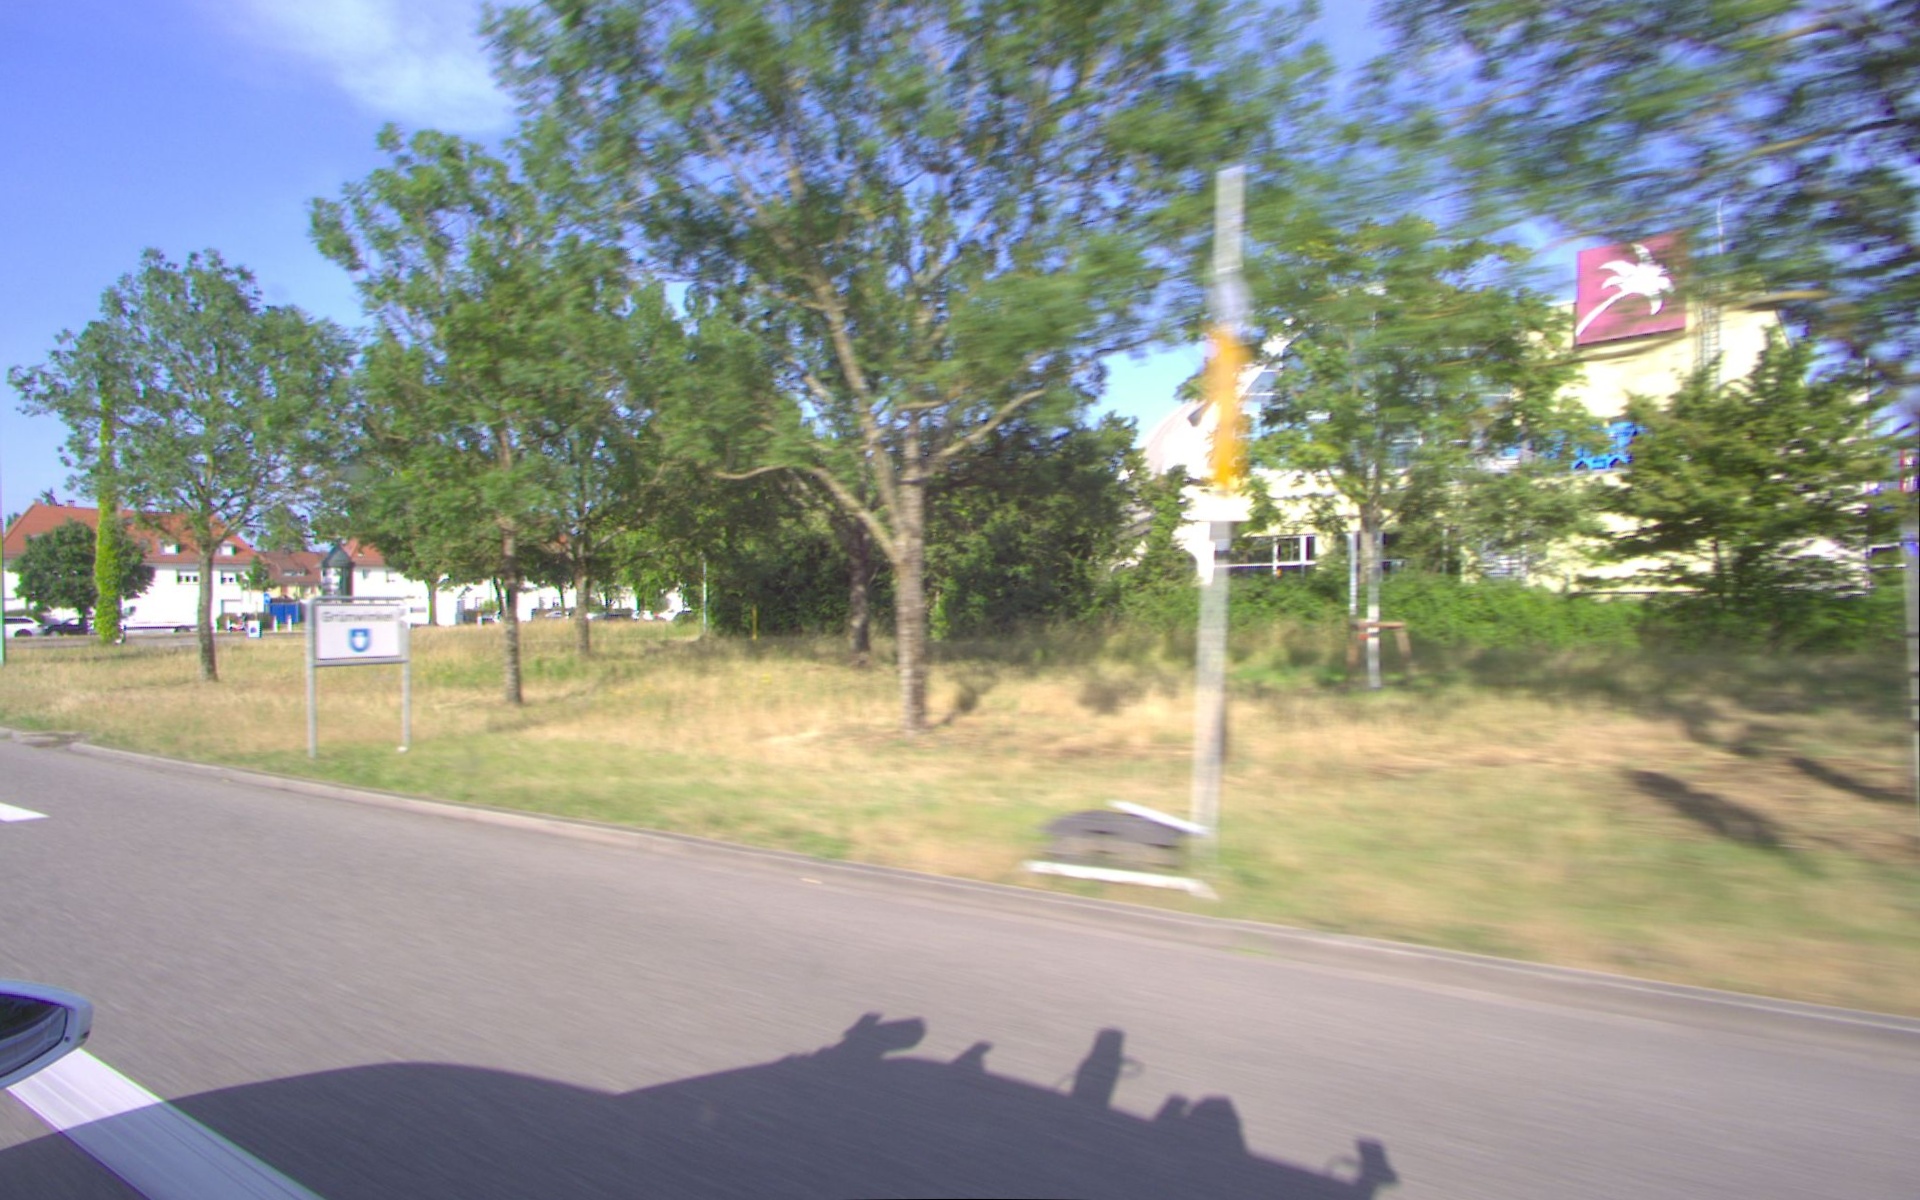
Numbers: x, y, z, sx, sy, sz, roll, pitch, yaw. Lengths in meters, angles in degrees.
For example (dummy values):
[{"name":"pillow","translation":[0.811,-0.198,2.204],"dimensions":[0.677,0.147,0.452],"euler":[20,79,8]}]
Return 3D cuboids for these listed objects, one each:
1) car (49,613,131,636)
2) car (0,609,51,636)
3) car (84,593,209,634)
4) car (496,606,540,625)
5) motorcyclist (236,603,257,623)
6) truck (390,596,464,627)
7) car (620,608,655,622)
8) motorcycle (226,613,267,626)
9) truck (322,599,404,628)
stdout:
[{"name":"car","translation":[-58.252,1.623,67.093],"dimensions":[1.695,1.472,3.970],"euler":[-1,0,39]},{"name":"car","translation":[-58.713,1.364,60.771],"dimensions":[1.817,1.583,5.073],"euler":[-1,0,39]},{"name":"car","translation":[-54.134,0.872,66.753],"dimensions":[1.975,2.617,6.183],"euler":[0,0,38]},{"name":"car","translation":[-45.991,1.623,104.292],"dimensions":[3.834,1.945,1.895],"euler":[-1,0,-8]},{"name":"motorcyclist","translation":[-50.205,0.907,70.435],"dimensions":[0.671,1.369,1.061],"euler":[0,0,37]},{"name":"truck","translation":[-51.190,1.062,96.283],"dimensions":[5.963,2.892,1.895],"euler":[-1,0,-8]},{"name":"car","translation":[-36.903,1.730,114.664],"dimensions":[3.366,1.534,1.896],"euler":[-1,0,-3]},{"name":"motorcycle","translation":[-50.203,1.392,70.445],"dimensions":[0.682,0.878,2.263],"euler":[0,0,37]},{"name":"truck","translation":[-54.337,1.244,91.215],"dimensions":[6.233,2.557,2.277],"euler":[0,0,4]}]
